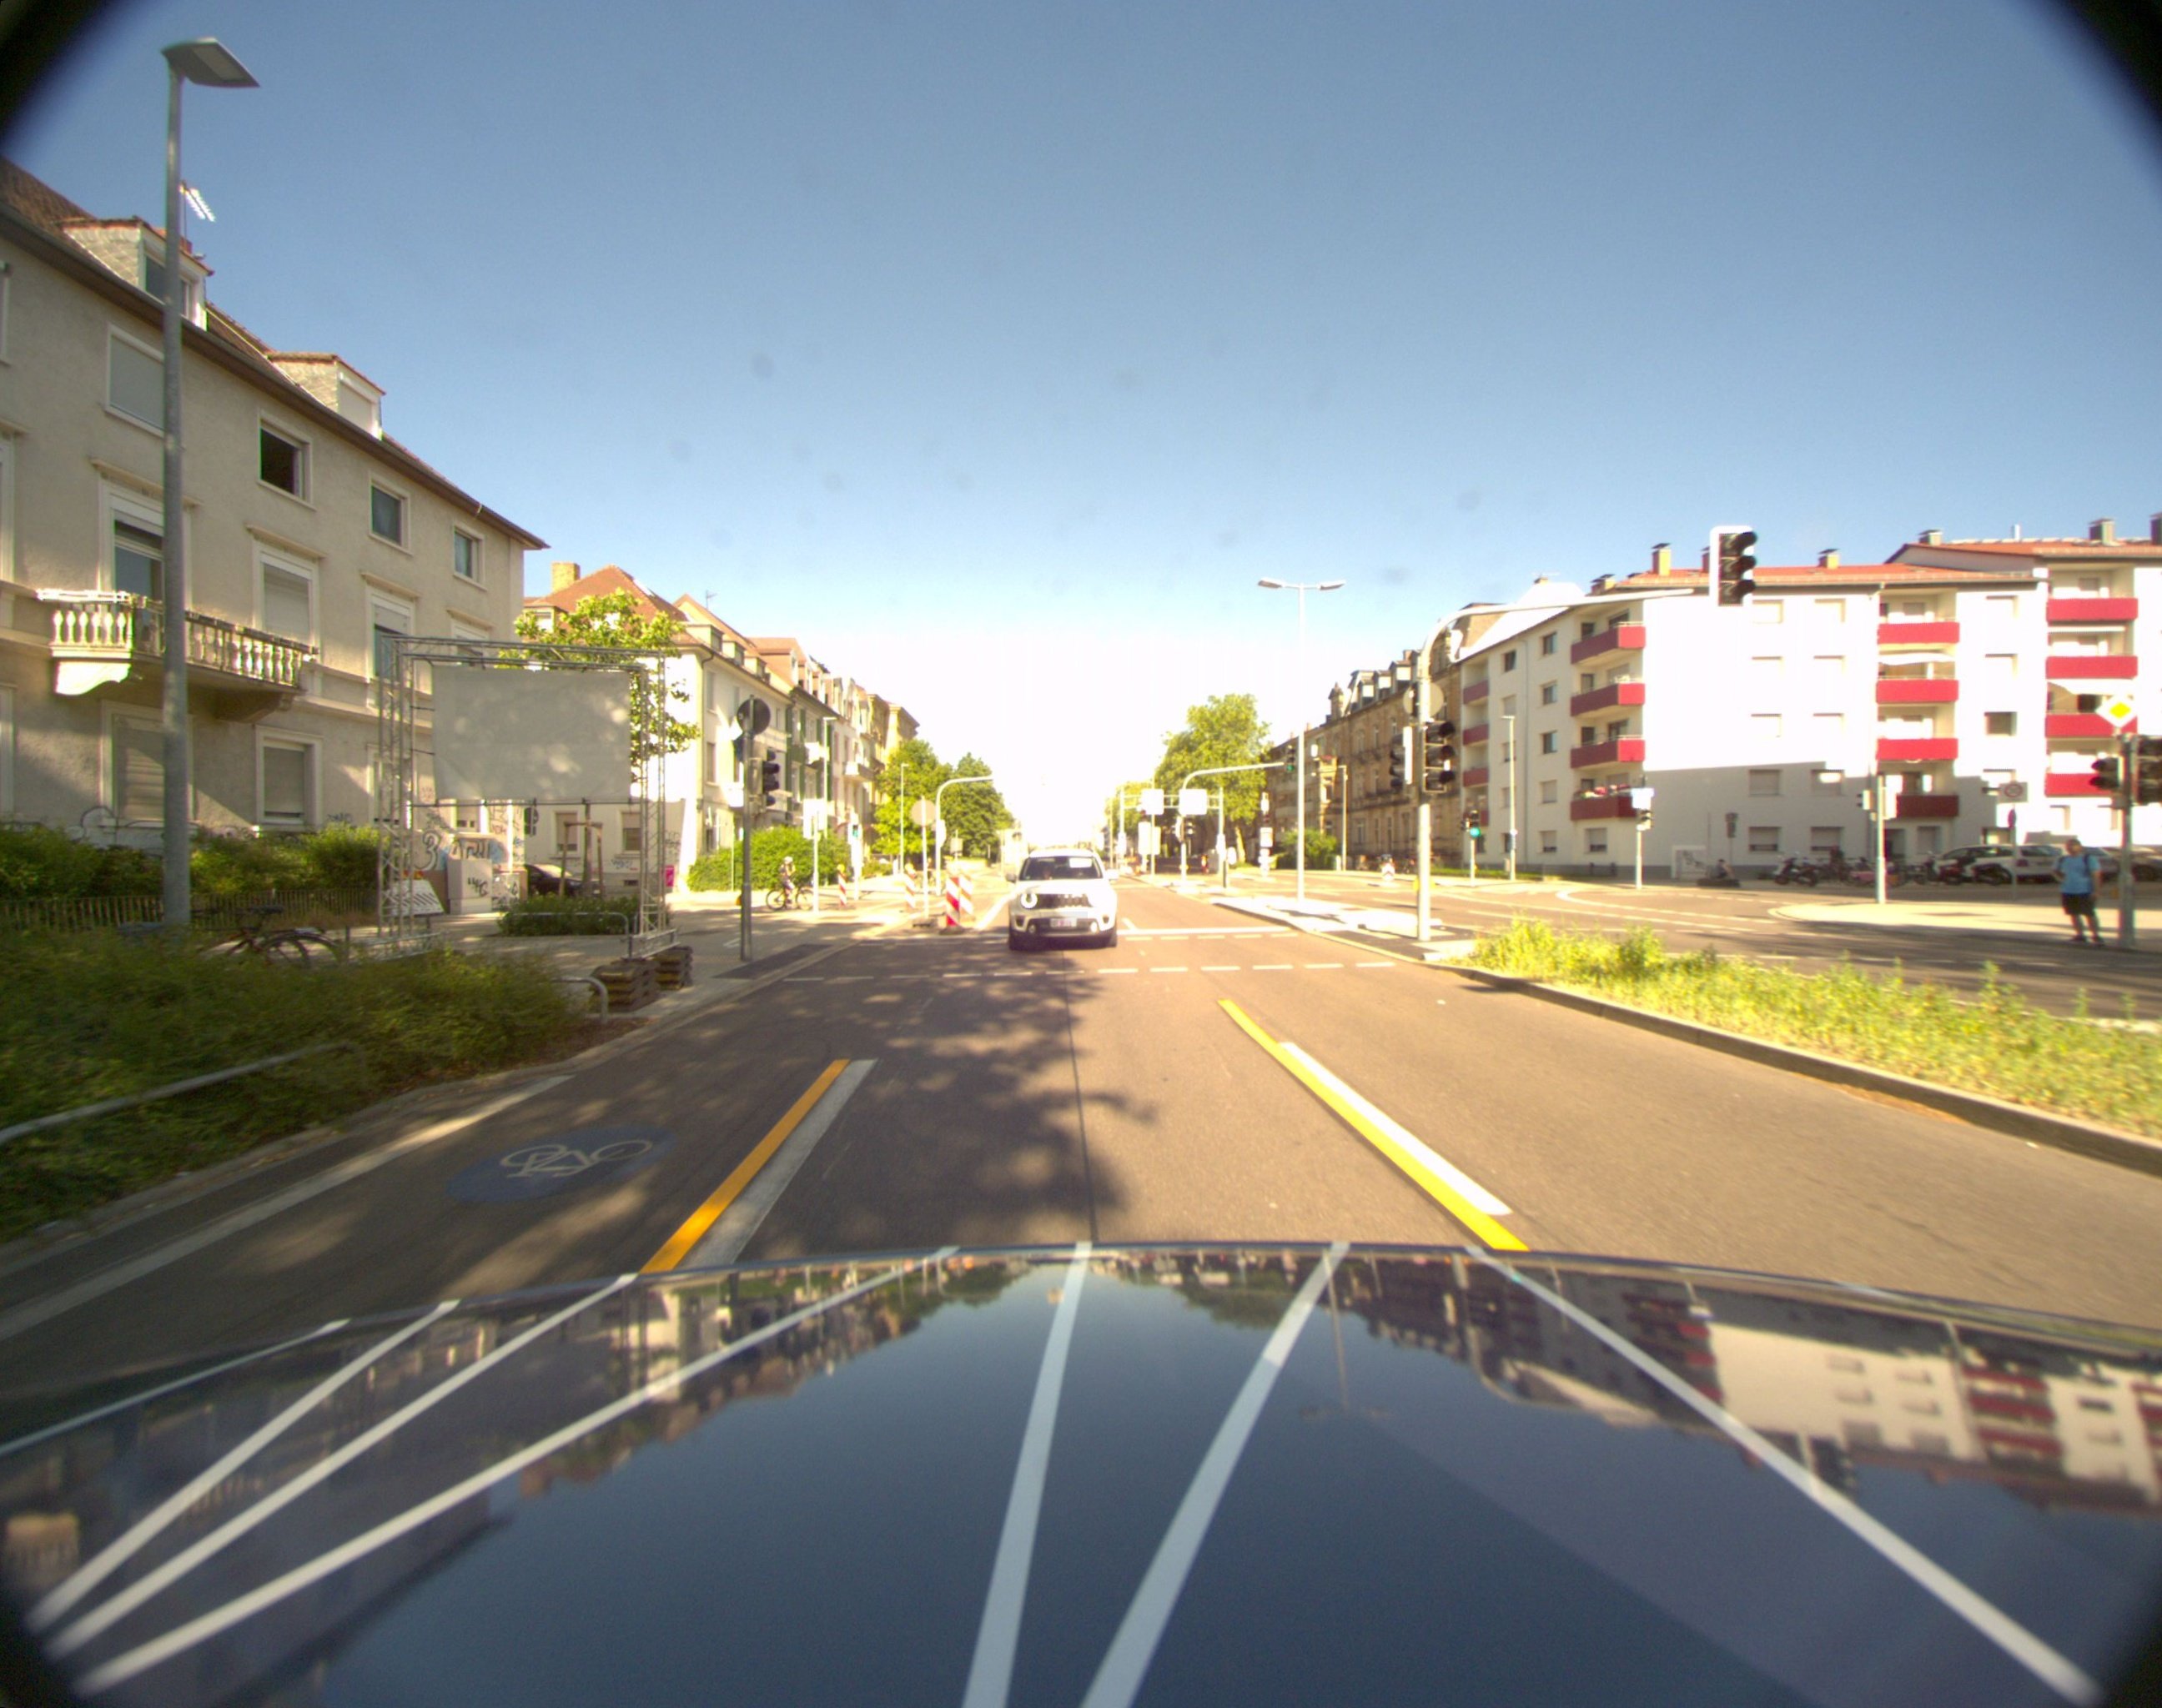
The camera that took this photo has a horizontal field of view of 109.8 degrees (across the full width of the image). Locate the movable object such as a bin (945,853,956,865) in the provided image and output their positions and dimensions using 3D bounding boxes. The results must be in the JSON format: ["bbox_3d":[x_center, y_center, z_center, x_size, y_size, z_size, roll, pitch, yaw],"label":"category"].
[{"bbox_3d":[-15.613,0.602,90.897,0.975,1.389,1.285,2,-1,-25],"label":"movable object such as a bin"}]

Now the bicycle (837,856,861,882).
[{"bbox_3d":[-13.295,0.867,43.678,0.710,1.435,2.490,-2,0,-3],"label":"bicycle"}]

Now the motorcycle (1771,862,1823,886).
[{"bbox_3d":[29.192,0.789,31.014,0.504,0.931,1.842,-1,0,5],"label":"motorcycle"}]

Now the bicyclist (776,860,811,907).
[{"bbox_3d":[-9.327,0.962,24.652,0.873,1.490,0.724,1,-1,-37],"label":"bicyclist"}]

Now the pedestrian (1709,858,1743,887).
[{"bbox_3d":[26.264,0.734,30.955,0.720,1.146,0.788,-1,1,-14],"label":"pedestrian"}]

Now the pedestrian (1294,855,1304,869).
[{"bbox_3d":[20.624,0.752,71.900,0.568,1.369,1.090,-1,0,-4],"label":"pedestrian"}]

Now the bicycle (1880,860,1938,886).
[{"bbox_3d":[33.414,0.753,30.681,0.509,0.997,1.737,-1,0,3],"label":"bicycle"}]

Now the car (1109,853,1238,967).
[{"bbox_3d":[1.437,0.819,13.042,1.744,1.648,3.689,-1,0,0],"label":"car"}]

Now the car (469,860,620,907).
[{"bbox_3d":[-20.074,1.068,28.551,4.259,1.609,1.985,-1,1,3],"label":"car"}]

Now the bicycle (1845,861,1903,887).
[{"bbox_3d":[31.435,0.784,30.159,0.478,0.942,1.952,0,0,7],"label":"bicycle"}]

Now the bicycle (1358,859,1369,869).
[{"bbox_3d":[22.043,0.799,59.349,0.299,0.766,1.413,0,0,-2],"label":"bicycle"}]

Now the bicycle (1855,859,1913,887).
[{"bbox_3d":[32.340,0.756,30.638,0.490,1.062,1.736,-1,0,0],"label":"bicycle"}]

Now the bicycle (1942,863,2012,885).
[{"bbox_3d":[35.323,0.789,29.984,0.415,0.810,1.720,-1,0,-26],"label":"bicycle"}]

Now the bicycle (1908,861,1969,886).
[{"bbox_3d":[34.259,0.762,30.383,0.459,0.942,1.723,-1,0,0],"label":"bicycle"}]

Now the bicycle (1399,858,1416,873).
[{"bbox_3d":[22.301,0.786,51.951,0.305,0.952,1.939,0,0,-2],"label":"bicycle"}]

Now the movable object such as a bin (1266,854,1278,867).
[{"bbox_3d":[20.397,0.716,81.226,0.895,1.352,1.474,2,-1,-1],"label":"movable object such as a bin"}]

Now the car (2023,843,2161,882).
[{"bbox_3d":[42.999,0.329,31.694,1.763,1.520,4.574,-1,0,1],"label":"car"}]

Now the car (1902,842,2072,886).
[{"bbox_3d":[37.850,0.383,31.951,1.998,1.721,4.480,-1,0,4],"label":"car"}]

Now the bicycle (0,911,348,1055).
[{"bbox_3d":[-8.473,1.125,7.178,0.587,0.999,2.136,0,0,33],"label":"bicycle"}]

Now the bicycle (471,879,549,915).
[{"bbox_3d":[-18.127,1.362,24.149,2.001,1.074,0.579,-1,1,-1],"label":"bicycle"}]

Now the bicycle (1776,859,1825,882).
[{"bbox_3d":[31.614,0.718,33.394,0.575,0.963,1.737,-1,0,3],"label":"bicycle"}]

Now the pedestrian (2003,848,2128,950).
[{"bbox_3d":[17.089,0.749,13.222,0.866,1.701,1.013,0,0,5],"label":"pedestrian"}]

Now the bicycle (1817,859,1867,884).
[{"bbox_3d":[33.492,0.748,33.453,0.575,1.052,1.690,-1,0,3],"label":"bicycle"}]

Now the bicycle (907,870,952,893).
[{"bbox_3d":[-7.080,1.281,35.516,1.968,1.019,0.605,-2,0,-3],"label":"bicycle"}]

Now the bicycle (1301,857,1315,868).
[{"bbox_3d":[21.393,0.843,71.517,0.468,0.999,2.249,-2,0,-4],"label":"bicycle"}]

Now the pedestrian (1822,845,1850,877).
[{"bbox_3d":[35.238,0.324,35.479,0.601,1.488,0.694,-1,1,1],"label":"pedestrian"}]

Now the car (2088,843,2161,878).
[{"bbox_3d":[45.806,0.265,31.876,1.848,1.453,4.000,-1,0,1],"label":"car"}]

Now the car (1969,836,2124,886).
[{"bbox_3d":[40.139,0.263,31.738,1.700,1.944,3.793,-1,0,1],"label":"car"}]

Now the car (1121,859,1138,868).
[{"bbox_3d":[7.190,1.372,113.650,1.936,1.337,4.314,0,-1,-5],"label":"car"}]

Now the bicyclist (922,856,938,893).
[{"bbox_3d":[-7.026,0.931,35.461,0.605,1.698,0.858,0,0,-2],"label":"bicyclist"}]

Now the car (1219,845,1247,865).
[{"bbox_3d":[18.843,0.162,94.425,2.251,2.431,5.287,2,-1,-1],"label":"car"}]

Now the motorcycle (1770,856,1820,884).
[{"bbox_3d":[30.240,0.663,32.216,0.612,1.135,1.784,-1,0,7],"label":"motorcycle"}]

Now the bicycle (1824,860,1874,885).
[{"bbox_3d":[30.857,0.730,30.544,0.507,0.972,1.887,-1,0,14],"label":"bicycle"}]

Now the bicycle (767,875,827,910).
[{"bbox_3d":[-9.218,1.247,24.670,1.690,1.091,0.689,2,-1,-36],"label":"bicycle"}]
